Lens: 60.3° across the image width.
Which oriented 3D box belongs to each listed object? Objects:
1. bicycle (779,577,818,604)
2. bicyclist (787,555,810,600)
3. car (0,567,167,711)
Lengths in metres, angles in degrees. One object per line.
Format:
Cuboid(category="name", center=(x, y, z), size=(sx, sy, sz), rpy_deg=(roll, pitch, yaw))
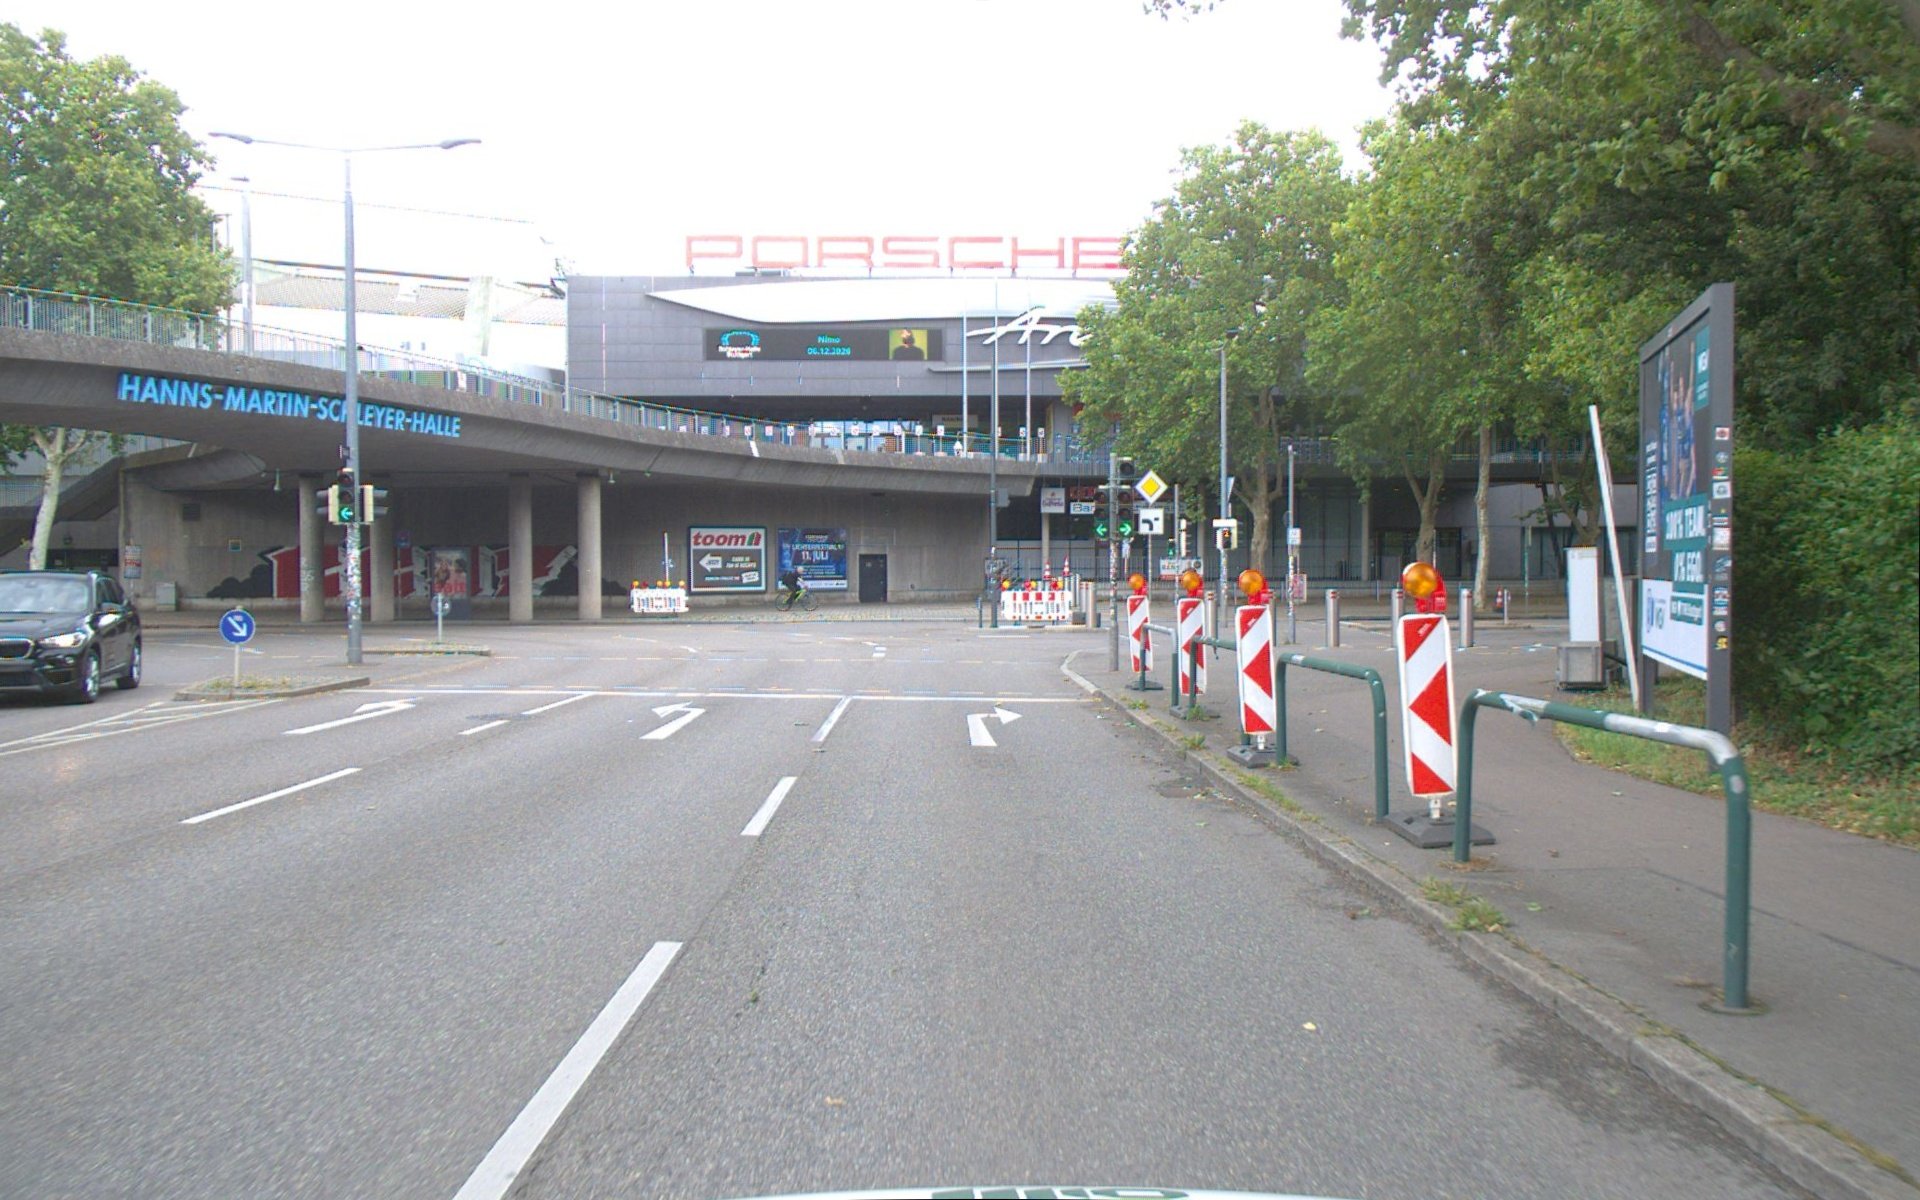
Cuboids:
Cuboid(category="bicycle", center=(-6.345, -0.374, 65.084), size=(1.503, 1.031, 0.516), rpy_deg=(1, 0, -5))
Cuboid(category="bicyclist", center=(-6.339, -0.894, 65.089), size=(0.835, 1.727, 0.766), rpy_deg=(1, 0, -5))
Cuboid(category="car", center=(-11.565, 0.447, 21.075), size=(1.740, 1.634, 4.411), rpy_deg=(-2, 1, -14))
